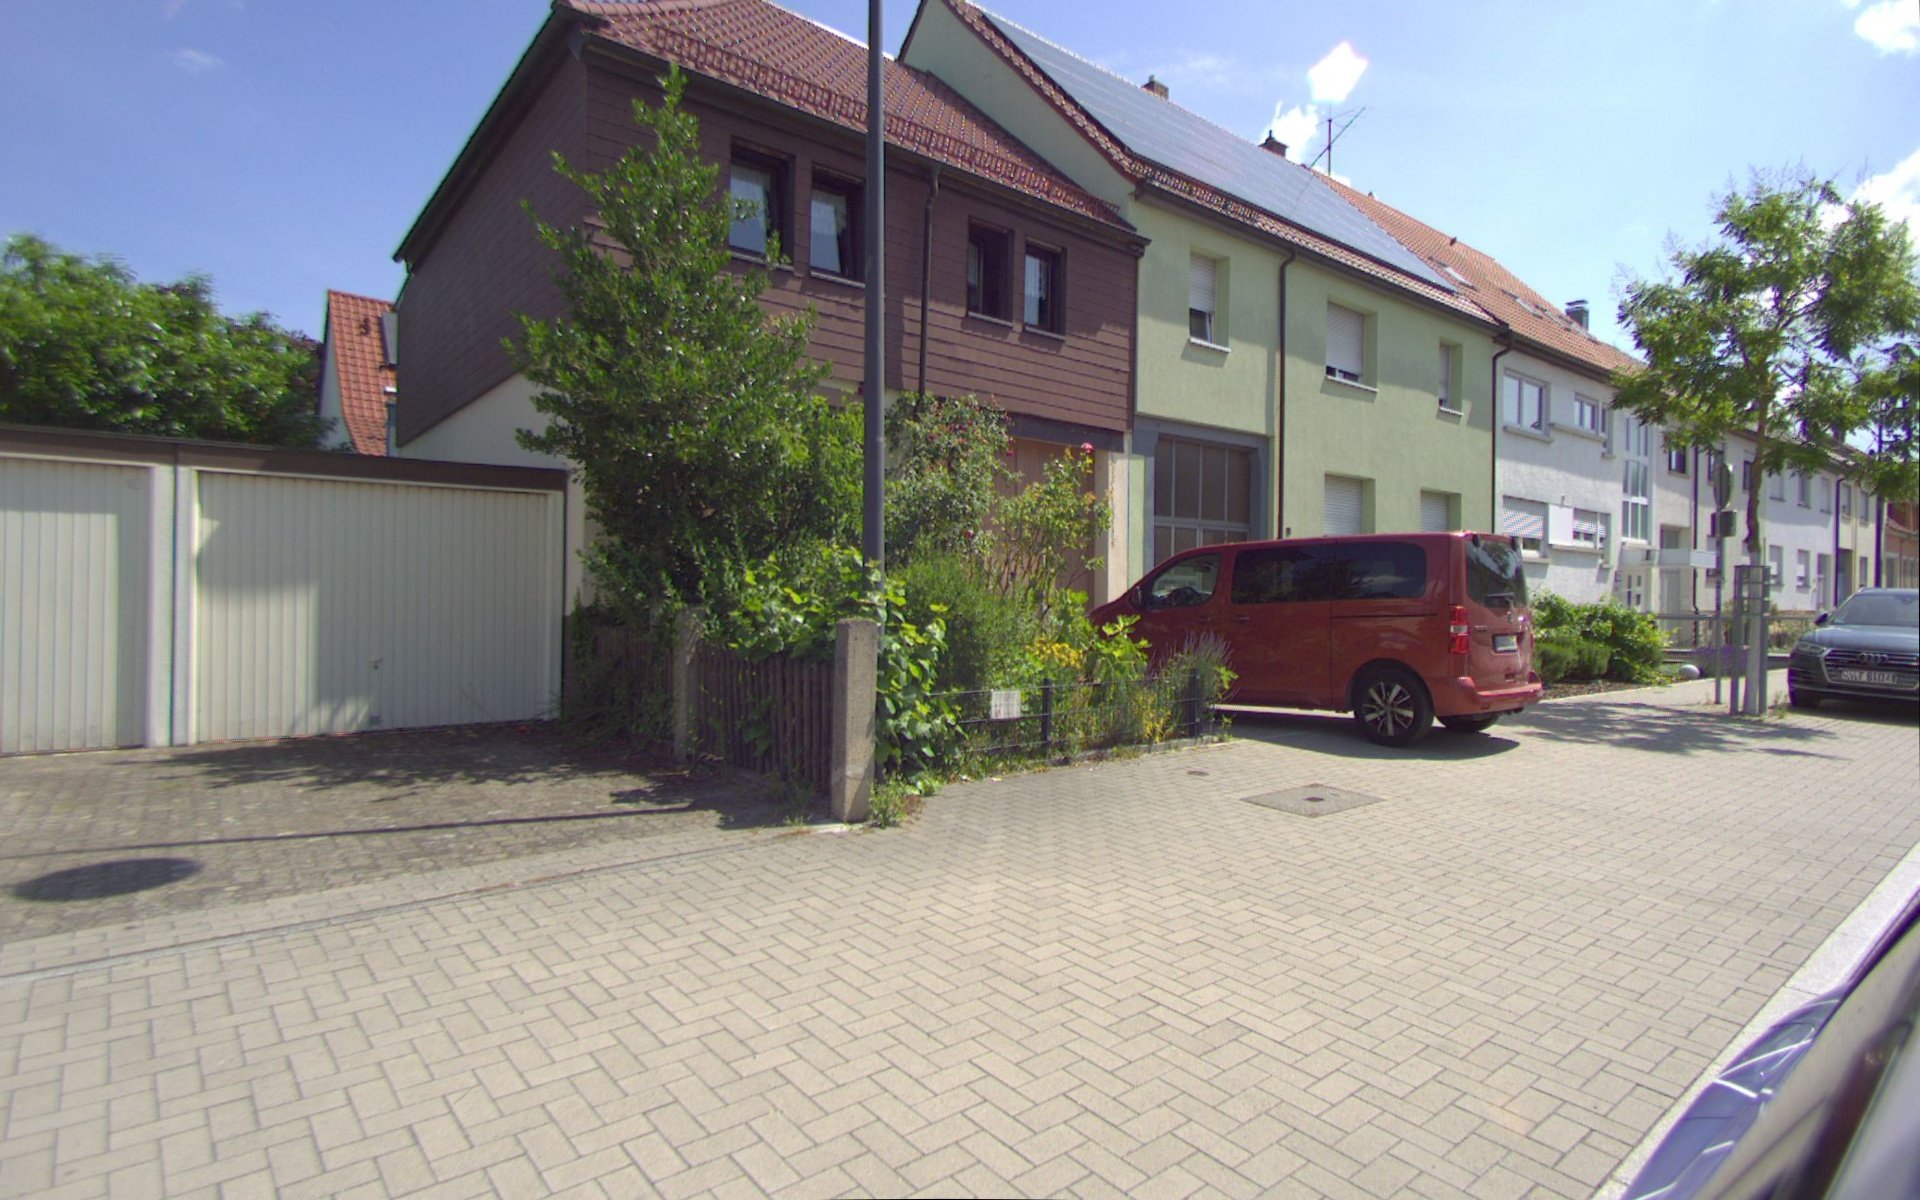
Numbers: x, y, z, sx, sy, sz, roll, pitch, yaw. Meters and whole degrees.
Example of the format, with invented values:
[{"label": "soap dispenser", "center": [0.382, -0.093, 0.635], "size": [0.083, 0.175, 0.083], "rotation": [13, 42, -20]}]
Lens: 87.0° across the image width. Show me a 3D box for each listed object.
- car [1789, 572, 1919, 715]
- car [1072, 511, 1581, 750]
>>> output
[{"label": "car", "center": [12.940, 0.525, 13.512], "size": [4.364, 1.655, 1.870], "rotation": [0, 3, -37]}, {"label": "car", "center": [3.537, 0.229, 10.547], "size": [1.985, 1.917, 4.627], "rotation": [-1, 0, -40]}]
